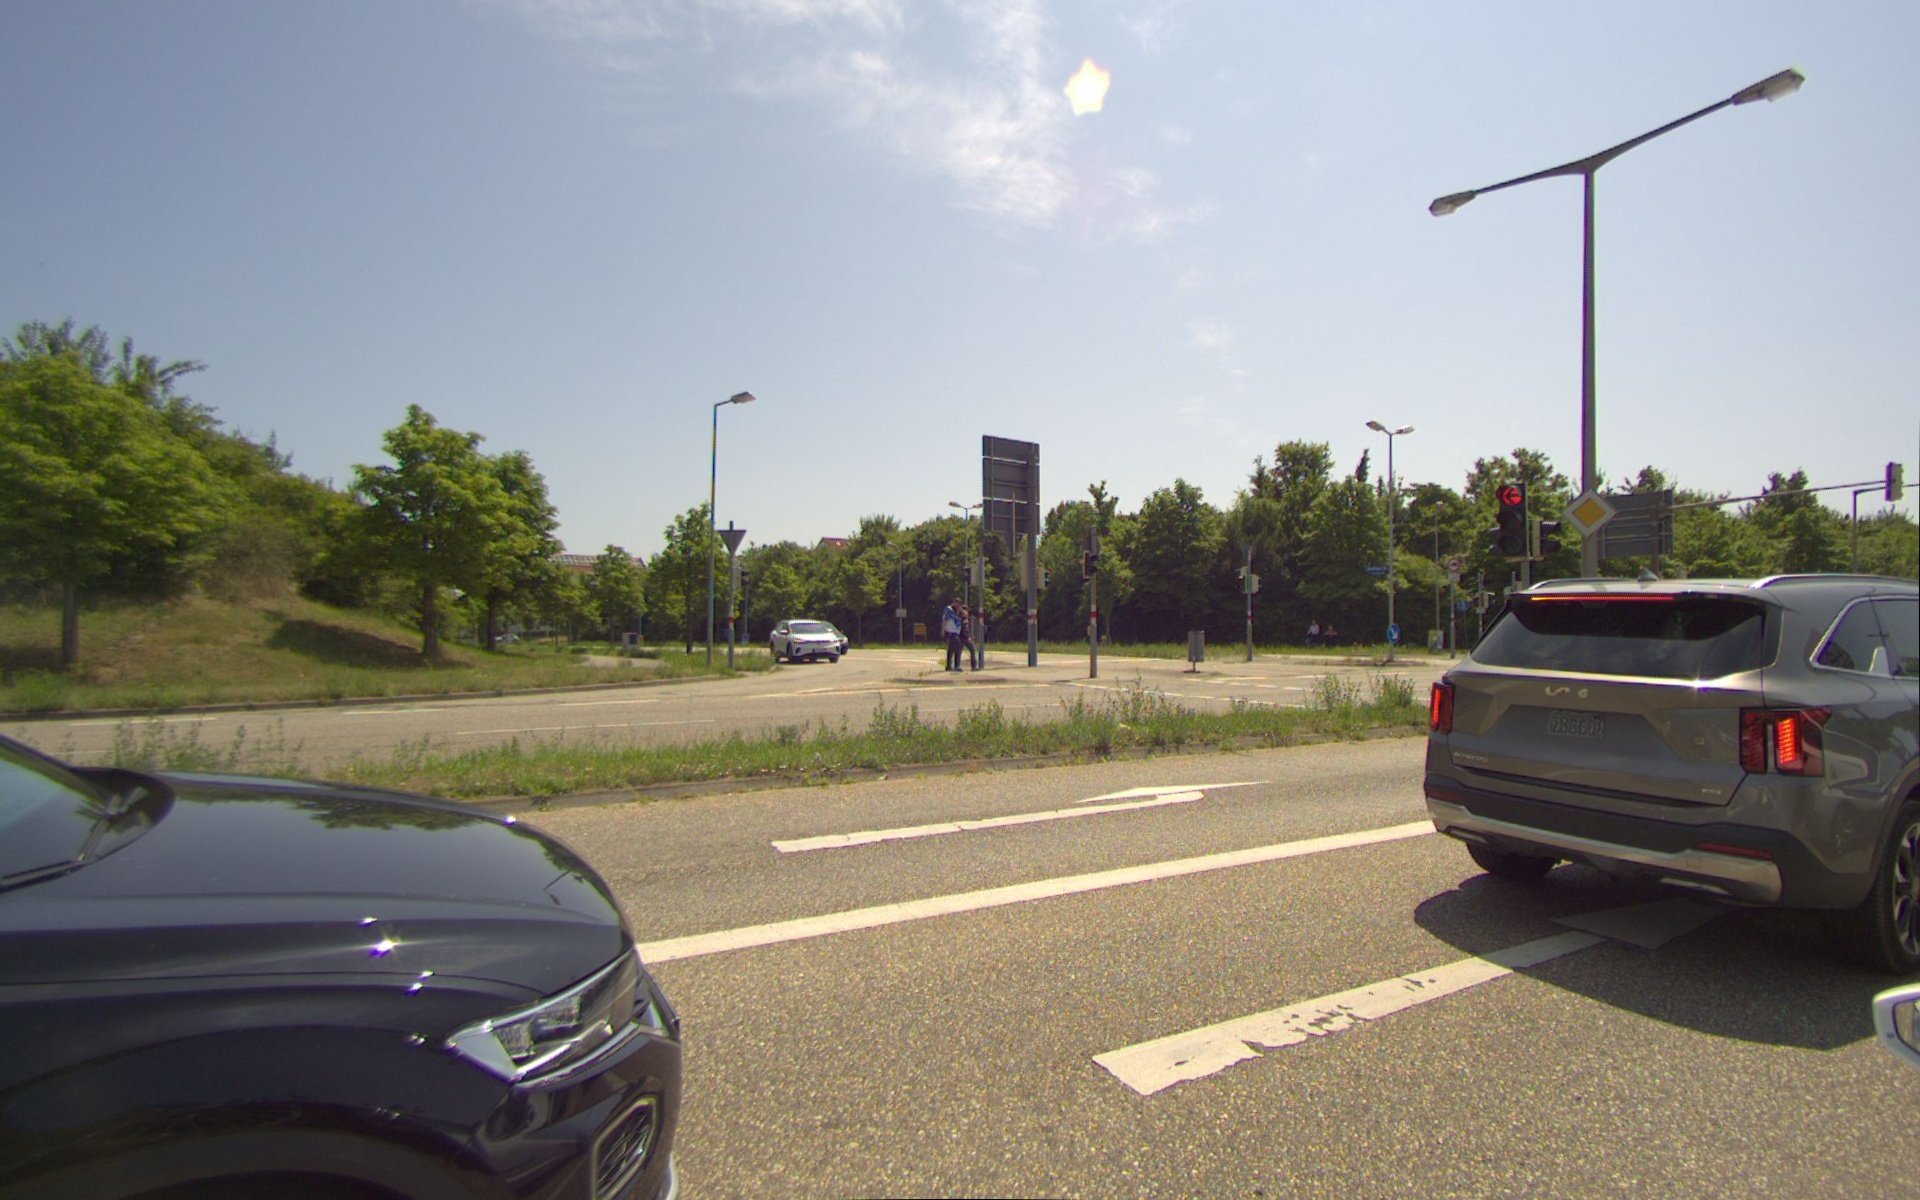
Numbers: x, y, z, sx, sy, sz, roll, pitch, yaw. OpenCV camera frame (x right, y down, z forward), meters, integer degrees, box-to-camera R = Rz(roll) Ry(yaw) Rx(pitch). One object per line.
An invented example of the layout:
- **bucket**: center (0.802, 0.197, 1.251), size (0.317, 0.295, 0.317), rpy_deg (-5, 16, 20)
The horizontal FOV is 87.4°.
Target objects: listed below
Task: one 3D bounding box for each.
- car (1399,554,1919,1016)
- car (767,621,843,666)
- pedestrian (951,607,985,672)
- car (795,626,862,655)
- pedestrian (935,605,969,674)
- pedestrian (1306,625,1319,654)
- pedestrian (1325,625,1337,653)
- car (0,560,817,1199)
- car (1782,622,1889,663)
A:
- **car**: center (4.709, 0.734, 5.625), size (4.590, 1.684, 1.795), rpy_deg (1, -1, -30)
- **car**: center (-5.996, 1.622, 38.454), size (1.853, 1.522, 4.286), rpy_deg (-2, -1, -23)
- **pedestrian**: center (0.204, 1.044, 26.829), size (0.761, 1.722, 0.723), rpy_deg (0, -1, -11)
- **car**: center (-6.351, 1.916, 48.211), size (1.685, 1.353, 3.964), rpy_deg (1, -2, -33)
- **pedestrian**: center (-0.211, 1.027, 26.014), size (0.779, 1.759, 0.582), rpy_deg (0, -1, -11)
- **pedestrian**: center (19.745, 2.206, 56.242), size (0.606, 1.624, 0.798), rpy_deg (-1, -1, 24)
- **pedestrian**: center (20.612, 2.162, 55.790), size (0.606, 1.523, 0.798), rpy_deg (0, -1, 24)
- **car**: center (-2.373, 0.685, 1.446), size (3.924, 1.532, 1.726), rpy_deg (2, 0, -30)
- **car**: center (32.729, 1.564, 37.547), size (4.119, 1.475, 1.814), rpy_deg (1, -1, -30)
